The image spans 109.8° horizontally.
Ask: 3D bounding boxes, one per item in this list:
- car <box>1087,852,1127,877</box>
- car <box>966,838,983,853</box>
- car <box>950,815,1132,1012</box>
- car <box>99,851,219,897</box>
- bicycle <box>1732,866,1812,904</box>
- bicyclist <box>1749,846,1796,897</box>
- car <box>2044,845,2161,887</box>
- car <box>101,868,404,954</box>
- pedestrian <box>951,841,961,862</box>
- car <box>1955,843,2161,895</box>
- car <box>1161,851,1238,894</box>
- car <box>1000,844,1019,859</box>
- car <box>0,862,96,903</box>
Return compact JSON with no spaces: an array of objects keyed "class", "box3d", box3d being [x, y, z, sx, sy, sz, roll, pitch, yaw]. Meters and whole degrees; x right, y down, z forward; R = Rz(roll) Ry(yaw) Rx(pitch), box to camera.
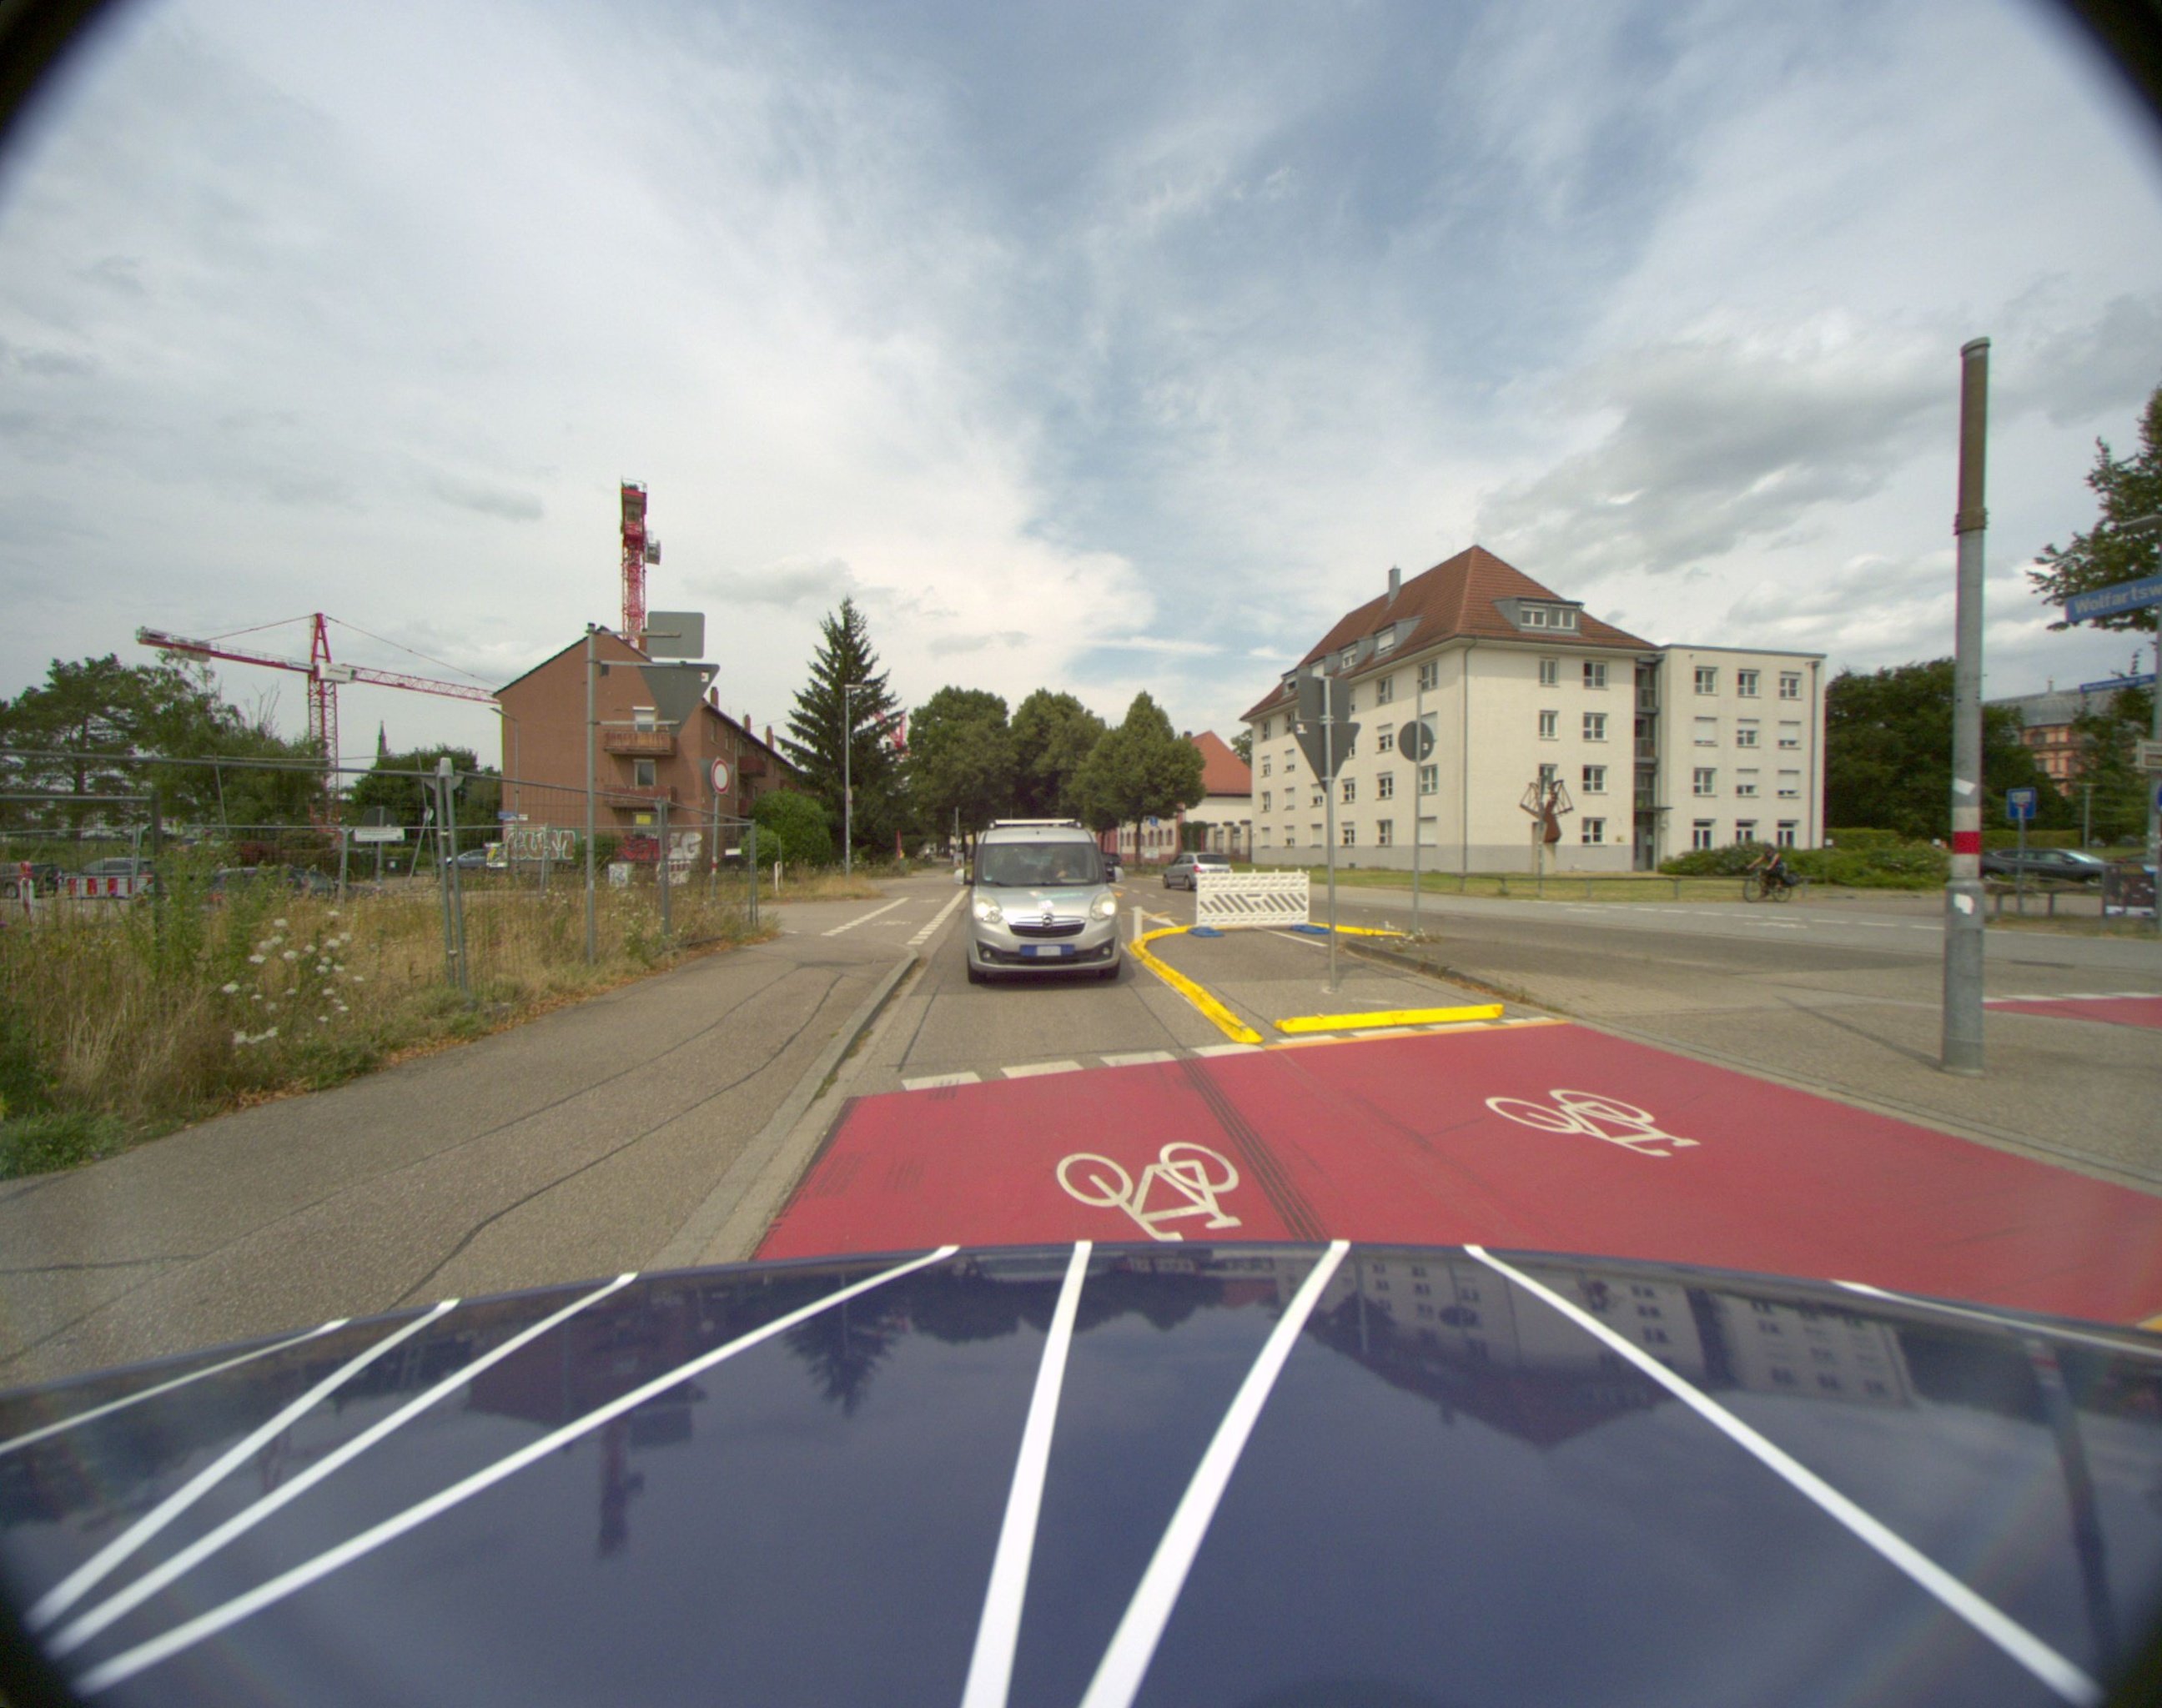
[{"class":"car","box3d":[1.513,0.589,45.053,1.632,1.406,3.718,1,0,-10]},{"class":"car","box3d":[-19.033,-1.542,135.885,2.072,2.670,5.961,-1,1,-16]},{"class":"car","box3d":[-0.645,0.556,9.877,1.811,1.936,4.581,-1,1,-7]},{"class":"car","box3d":[-38.640,0.805,31.854,3.991,1.838,1.804,0,1,18]},{"class":"bicycle","box3d":[19.667,0.880,21.645,1.829,1.040,0.601,0,1,-6]},{"class":"bicyclist","box3d":[19.688,0.496,21.647,0.803,1.415,0.601,0,1,-6]},{"class":"car","box3d":[42.009,0.428,30.058,2.000,1.588,4.402,-1,1,-11]},{"class":"car","box3d":[-17.365,1.100,16.310,1.766,1.465,4.258,-1,1,1]},{"class":"pedestrian","box3d":[-12.149,-0.210,73.882,0.856,2.002,0.730,-1,1,-17]},{"class":"car","box3d":[36.689,0.489,28.642,2.001,1.754,4.494,-1,1,-14]},{"class":"car","box3d":[4.507,0.646,29.518,1.629,1.510,4.214,0,1,-11]},{"class":"car","box3d":[-8.331,-0.299,88.523,1.802,1.613,4.743,-1,0,-11]},{"class":"car","box3d":[-44.068,1.181,31.739,4.008,1.593,1.803,0,1,9]}]
